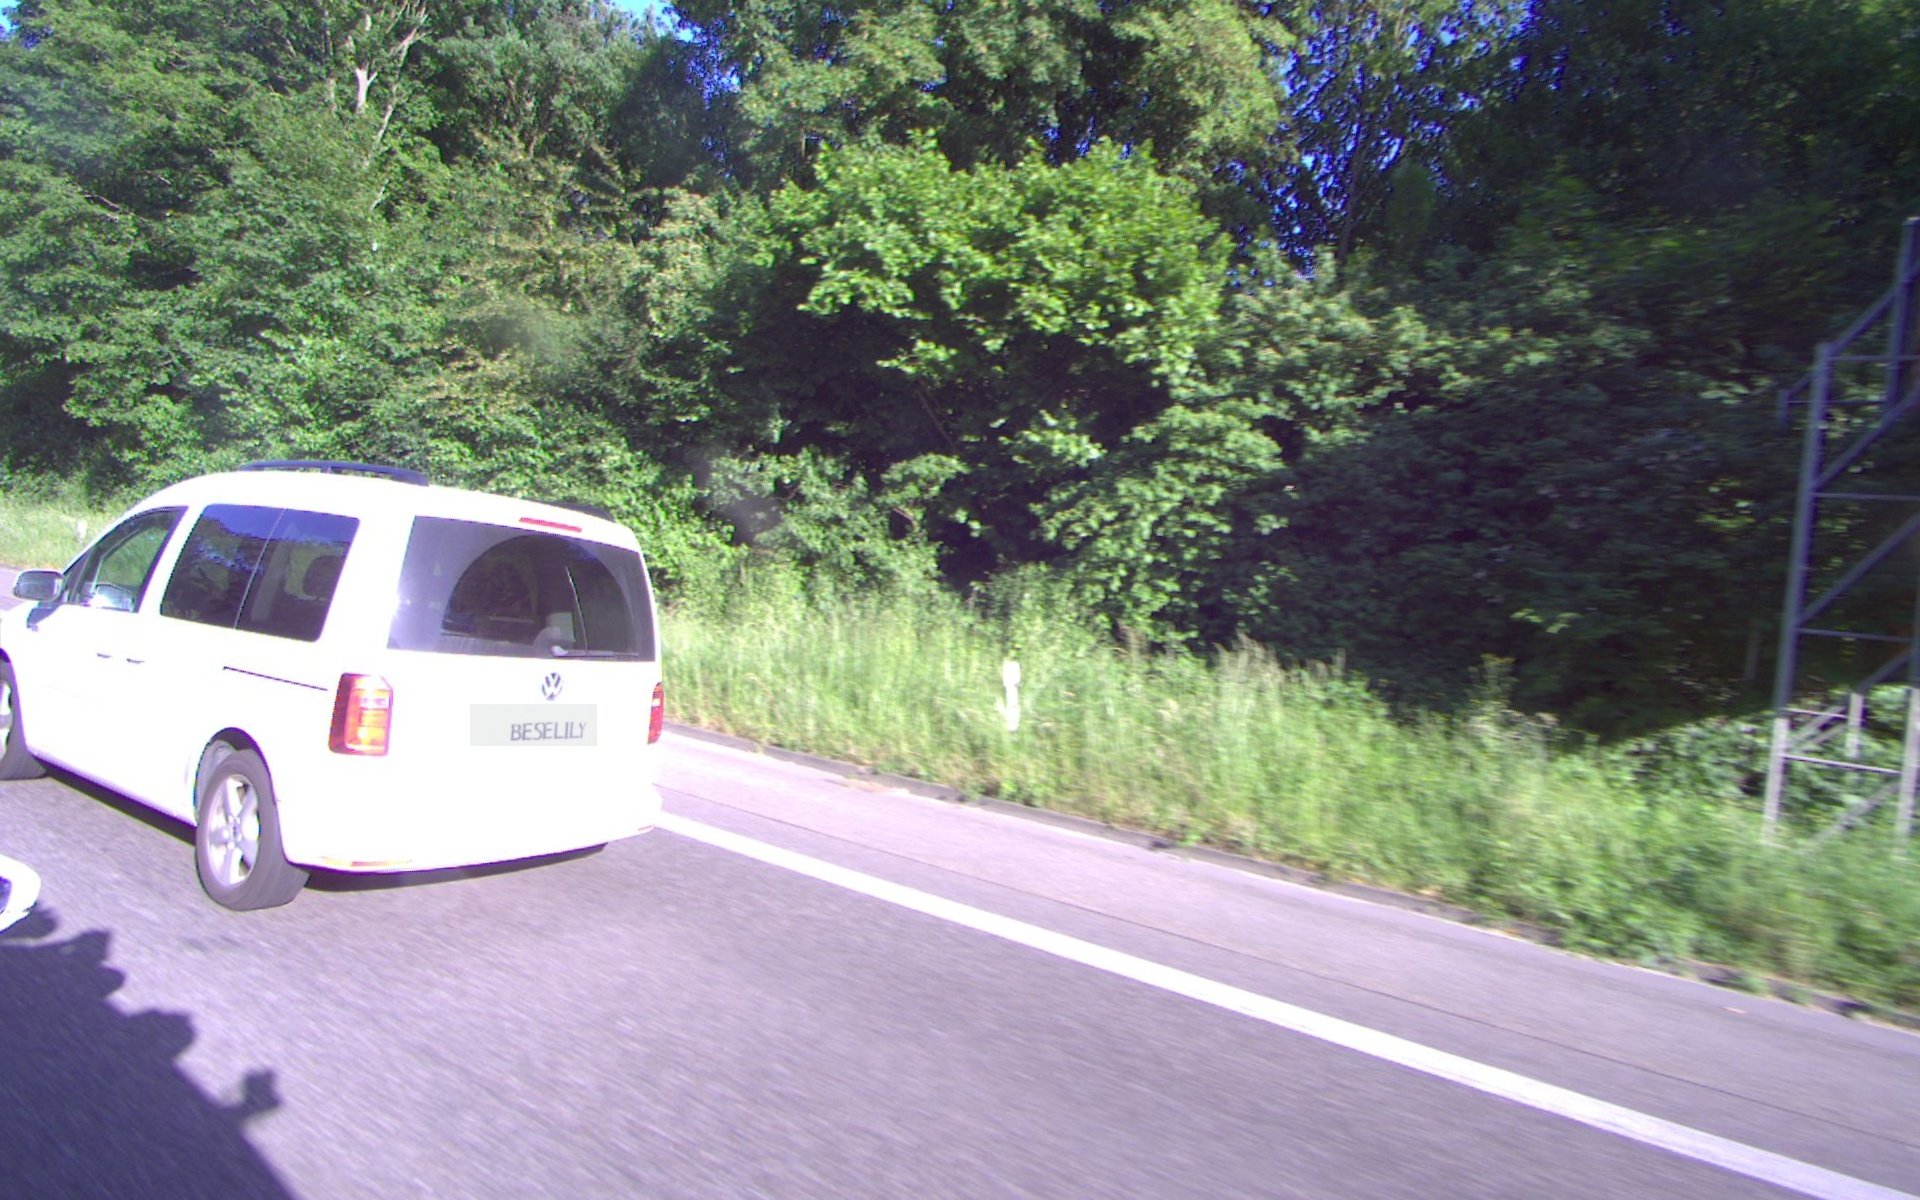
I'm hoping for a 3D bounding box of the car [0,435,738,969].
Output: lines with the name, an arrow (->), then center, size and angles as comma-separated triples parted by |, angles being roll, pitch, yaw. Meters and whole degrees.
car -> -3.590, 0.239, 5.449 | 4.511, 1.834, 1.802 | 6, -1, 31
